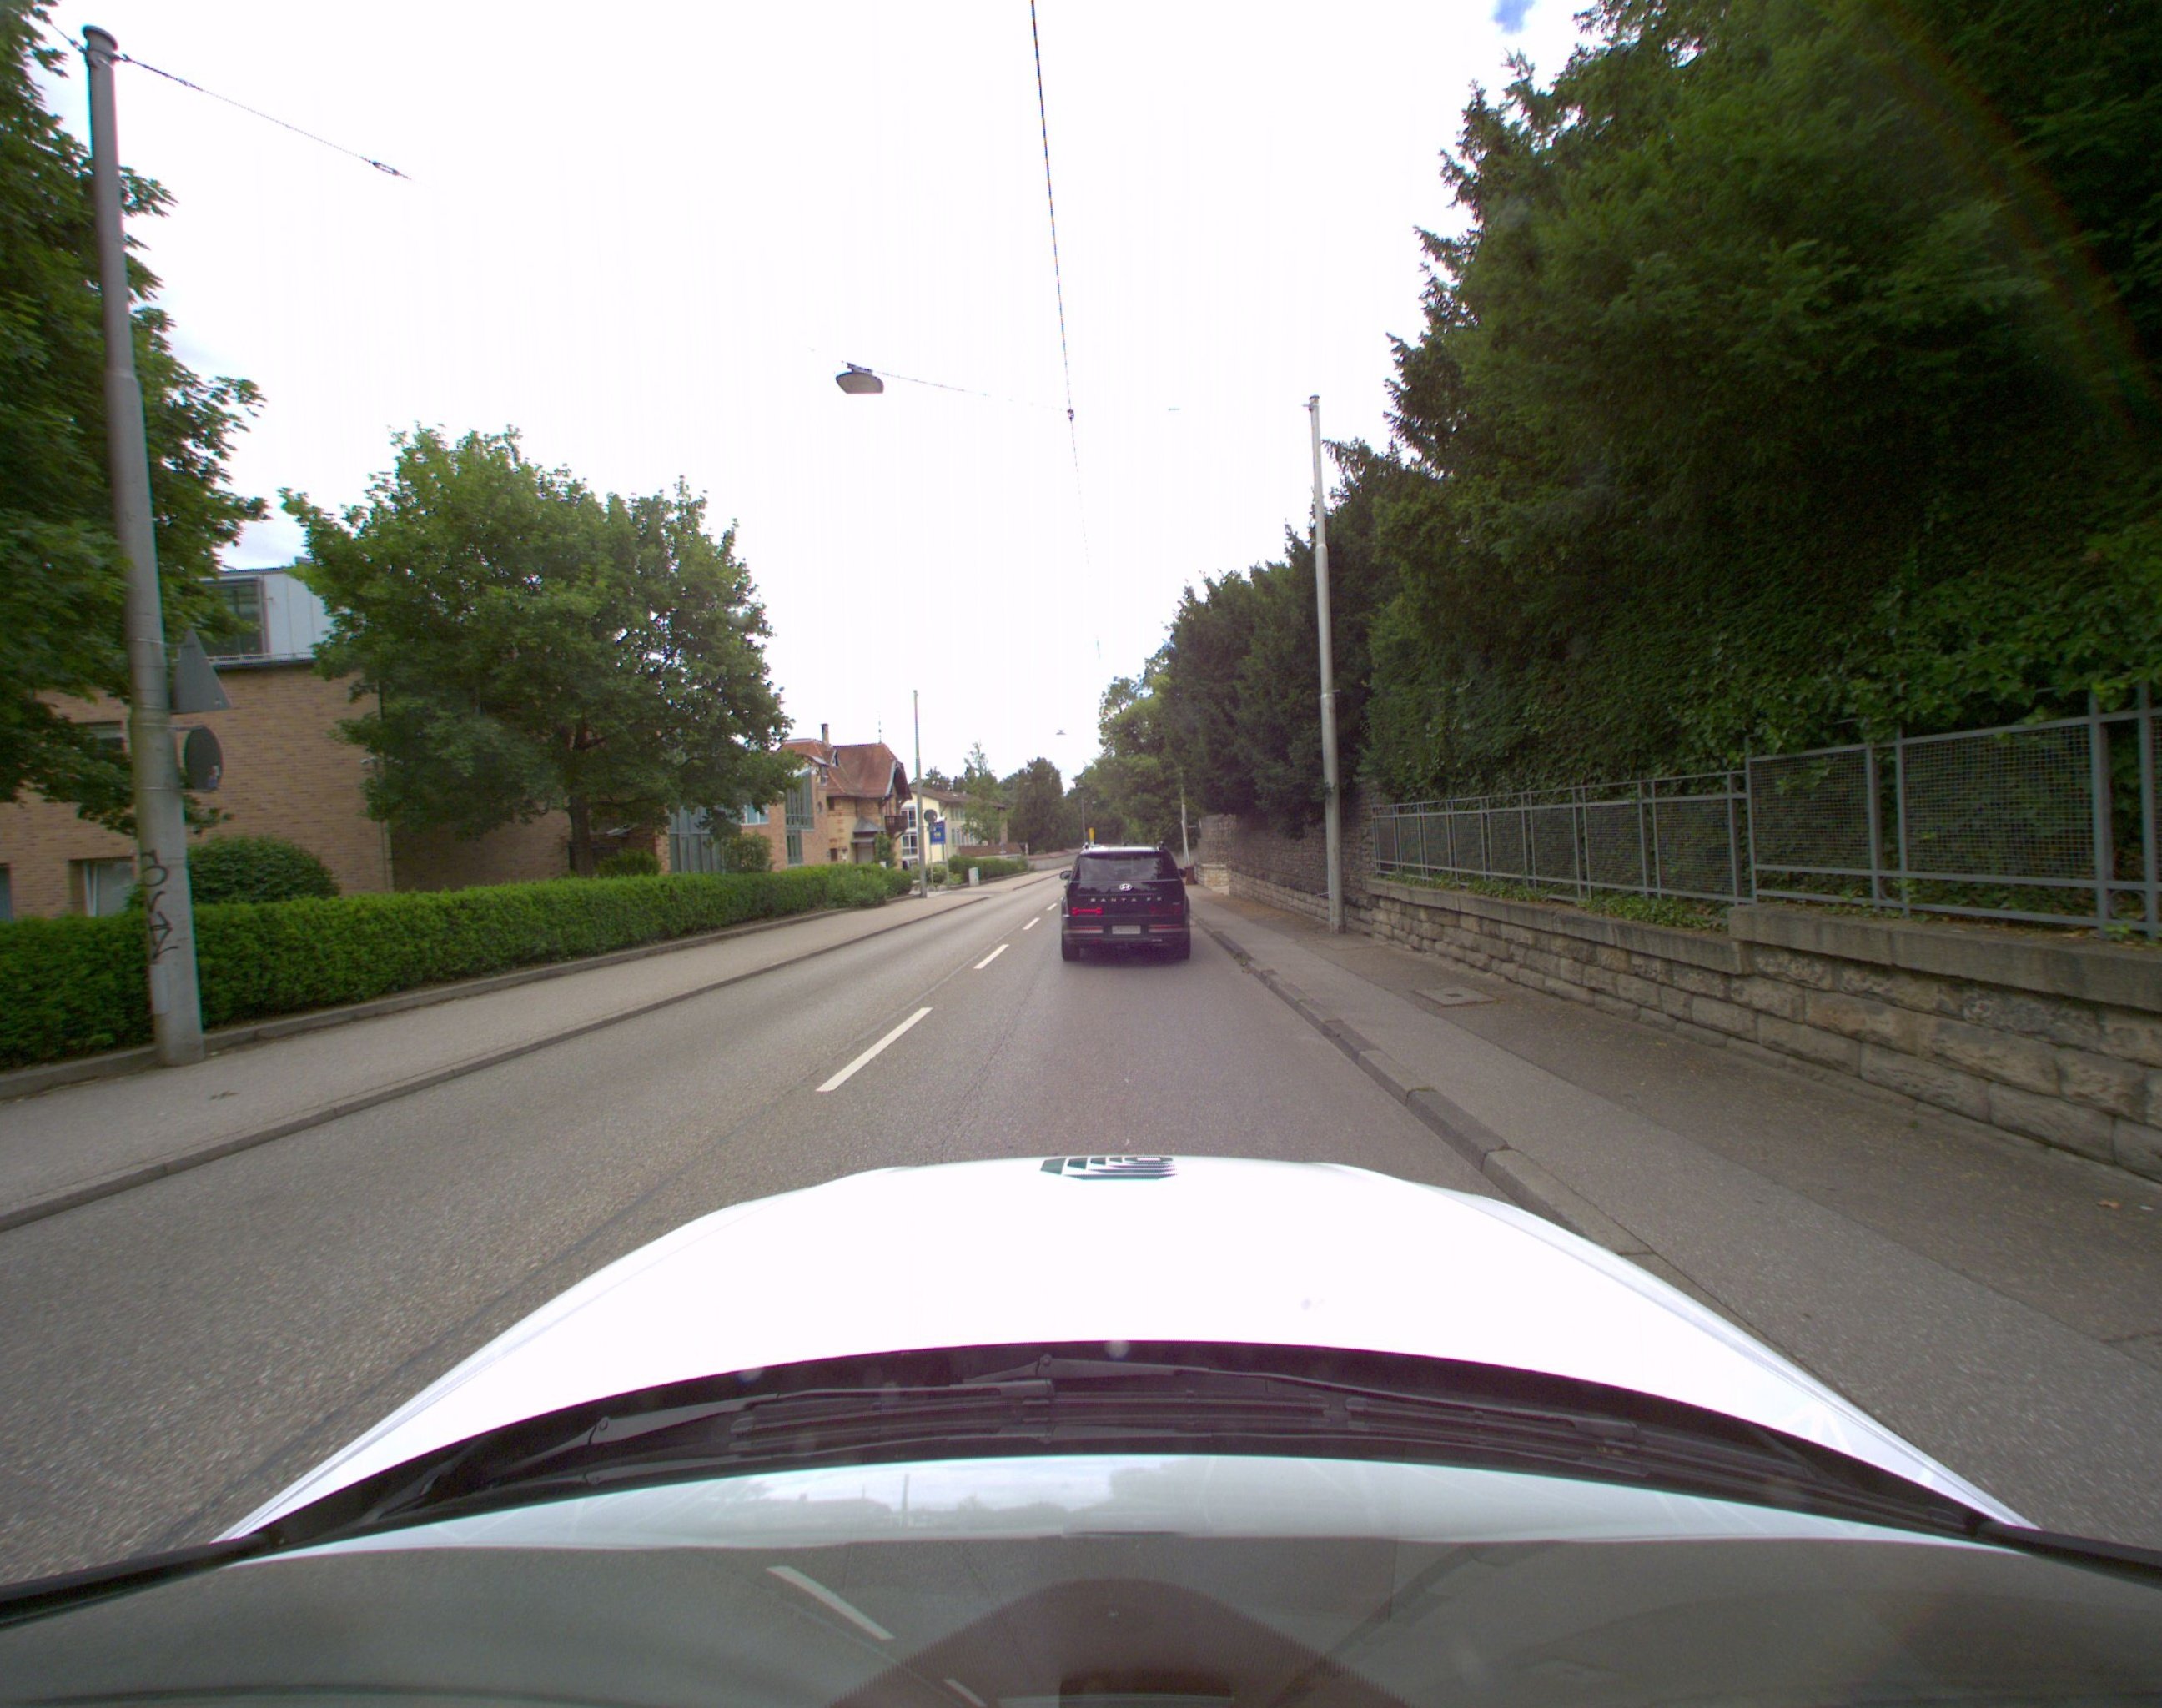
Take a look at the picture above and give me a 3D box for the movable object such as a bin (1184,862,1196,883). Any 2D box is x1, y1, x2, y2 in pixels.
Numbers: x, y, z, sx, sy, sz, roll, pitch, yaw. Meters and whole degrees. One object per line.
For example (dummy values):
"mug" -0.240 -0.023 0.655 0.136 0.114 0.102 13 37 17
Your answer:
"movable object such as a bin" 4.981 0.843 37.122 0.442 0.910 0.395 -6 -1 11

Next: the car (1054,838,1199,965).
"car" 0.716 0.633 13.141 1.949 1.713 4.226 0 0 3

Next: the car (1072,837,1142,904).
"car" 0.744 0.454 26.039 1.952 1.955 4.220 0 1 -2
